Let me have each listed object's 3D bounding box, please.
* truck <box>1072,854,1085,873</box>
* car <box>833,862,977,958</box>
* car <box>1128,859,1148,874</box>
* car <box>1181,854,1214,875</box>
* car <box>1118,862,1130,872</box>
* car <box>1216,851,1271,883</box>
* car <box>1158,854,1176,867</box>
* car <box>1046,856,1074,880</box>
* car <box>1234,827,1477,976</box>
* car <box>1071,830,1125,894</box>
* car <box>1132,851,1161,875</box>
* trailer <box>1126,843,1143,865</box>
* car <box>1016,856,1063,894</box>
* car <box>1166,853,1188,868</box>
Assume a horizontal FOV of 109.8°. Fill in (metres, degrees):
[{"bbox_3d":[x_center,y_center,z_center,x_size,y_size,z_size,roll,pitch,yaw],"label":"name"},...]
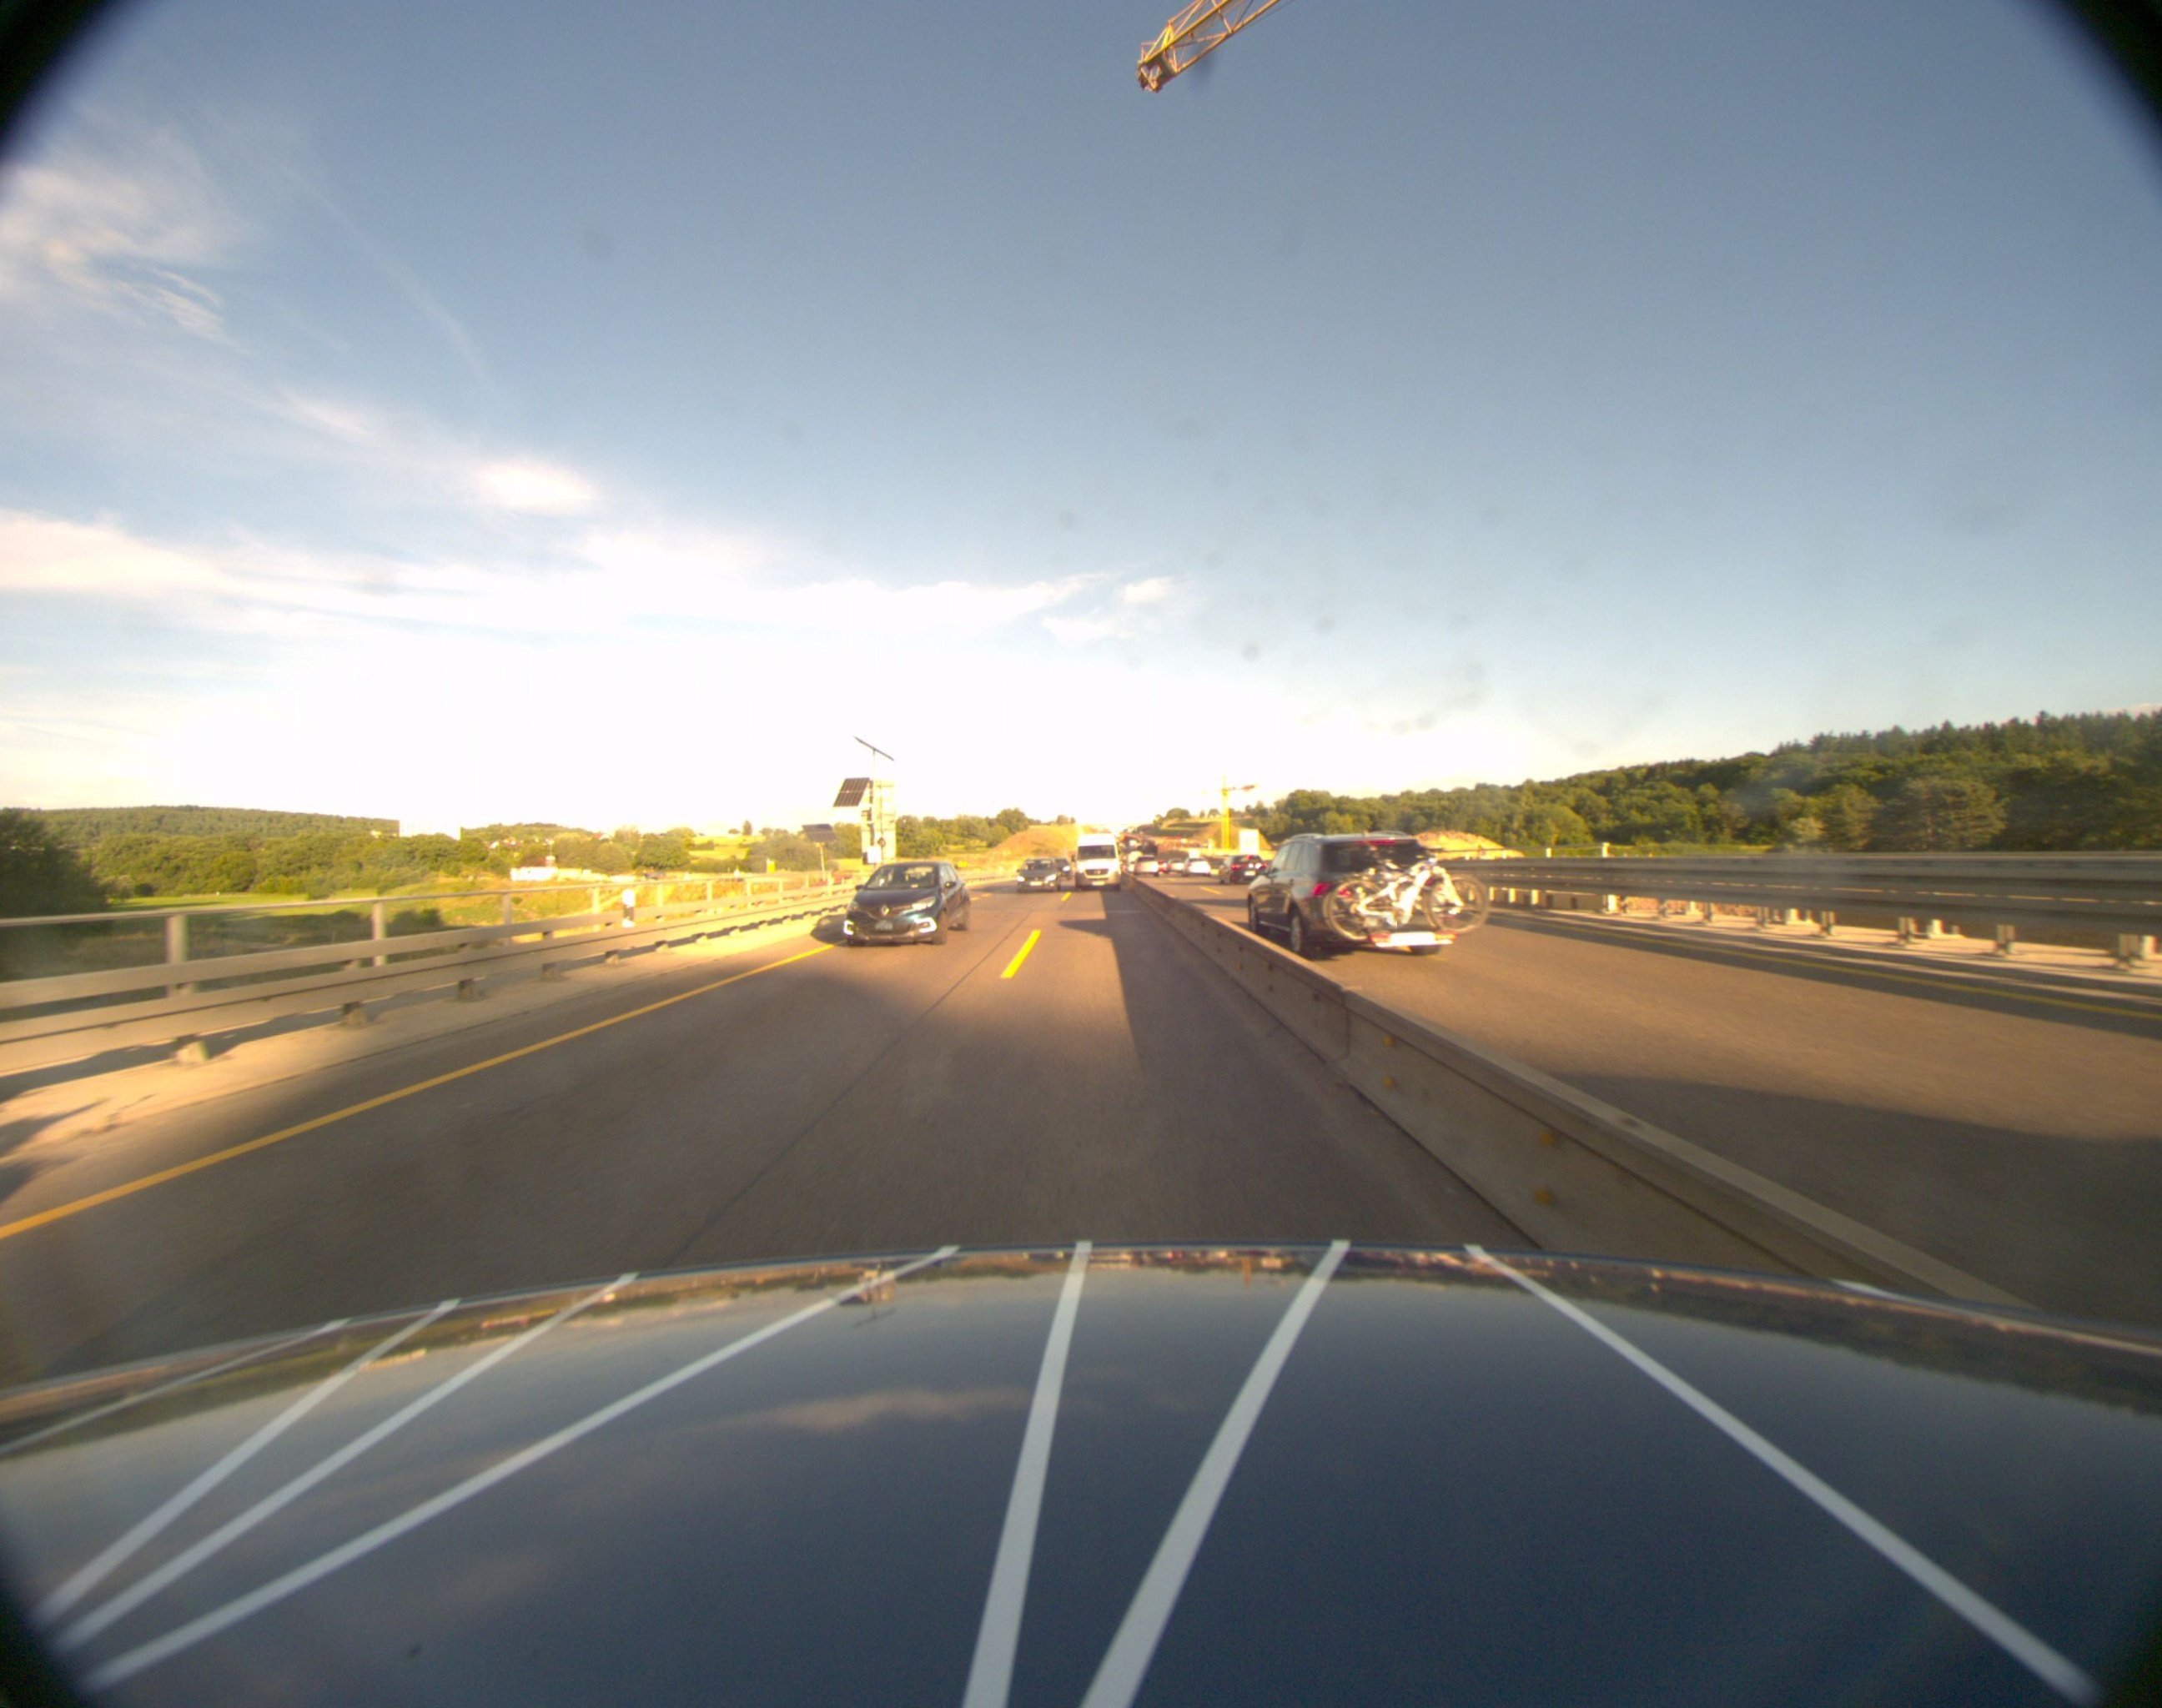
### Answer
[{"bbox_3d":[-0.578,1.913,155.769,2.263,3.705,6.572,-5,0,-1],"label":"truck"},{"bbox_3d":[-3.321,0.993,15.153,1.778,1.576,4.135,-2,-1,1],"label":"car"},{"bbox_3d":[5.846,1.262,78.761,1.809,1.503,4.000,-2,0,1],"label":"car"},{"bbox_3d":[8.411,0.737,54.972,1.778,1.374,4.532,-1,0,1],"label":"car"},{"bbox_3d":[8.048,2.440,141.661,1.998,1.635,4.512,-3,-1,1],"label":"car"},{"bbox_3d":[7.643,0.600,36.042,1.780,1.396,4.309,-1,0,2],"label":"car"},{"bbox_3d":[10.817,0.780,95.838,1.784,1.561,4.001,-1,-1,1],"label":"car"},{"bbox_3d":[-1.582,1.038,58.457,1.902,1.703,4.888,-2,-1,0],"label":"car"},{"bbox_3d":[3.854,0.585,11.673,1.934,1.744,4.672,-2,0,-1],"label":"car"},{"bbox_3d":[0.771,0.355,33.467,2.109,2.517,5.221,-2,-1,2],"label":"car"},{"bbox_3d":[5.226,0.704,61.061,1.998,1.748,4.660,-2,0,1],"label":"car"},{"bbox_3d":[10.651,0.044,151.580,2.821,4.026,14.024,-1,-1,2],"label":"trailer"},{"bbox_3d":[-1.894,0.939,35.929,1.817,1.606,4.526,-4,0,0],"label":"car"},{"bbox_3d":[9.458,0.658,74.843,1.681,1.414,4.580,-2,-1,2],"label":"car"}]
